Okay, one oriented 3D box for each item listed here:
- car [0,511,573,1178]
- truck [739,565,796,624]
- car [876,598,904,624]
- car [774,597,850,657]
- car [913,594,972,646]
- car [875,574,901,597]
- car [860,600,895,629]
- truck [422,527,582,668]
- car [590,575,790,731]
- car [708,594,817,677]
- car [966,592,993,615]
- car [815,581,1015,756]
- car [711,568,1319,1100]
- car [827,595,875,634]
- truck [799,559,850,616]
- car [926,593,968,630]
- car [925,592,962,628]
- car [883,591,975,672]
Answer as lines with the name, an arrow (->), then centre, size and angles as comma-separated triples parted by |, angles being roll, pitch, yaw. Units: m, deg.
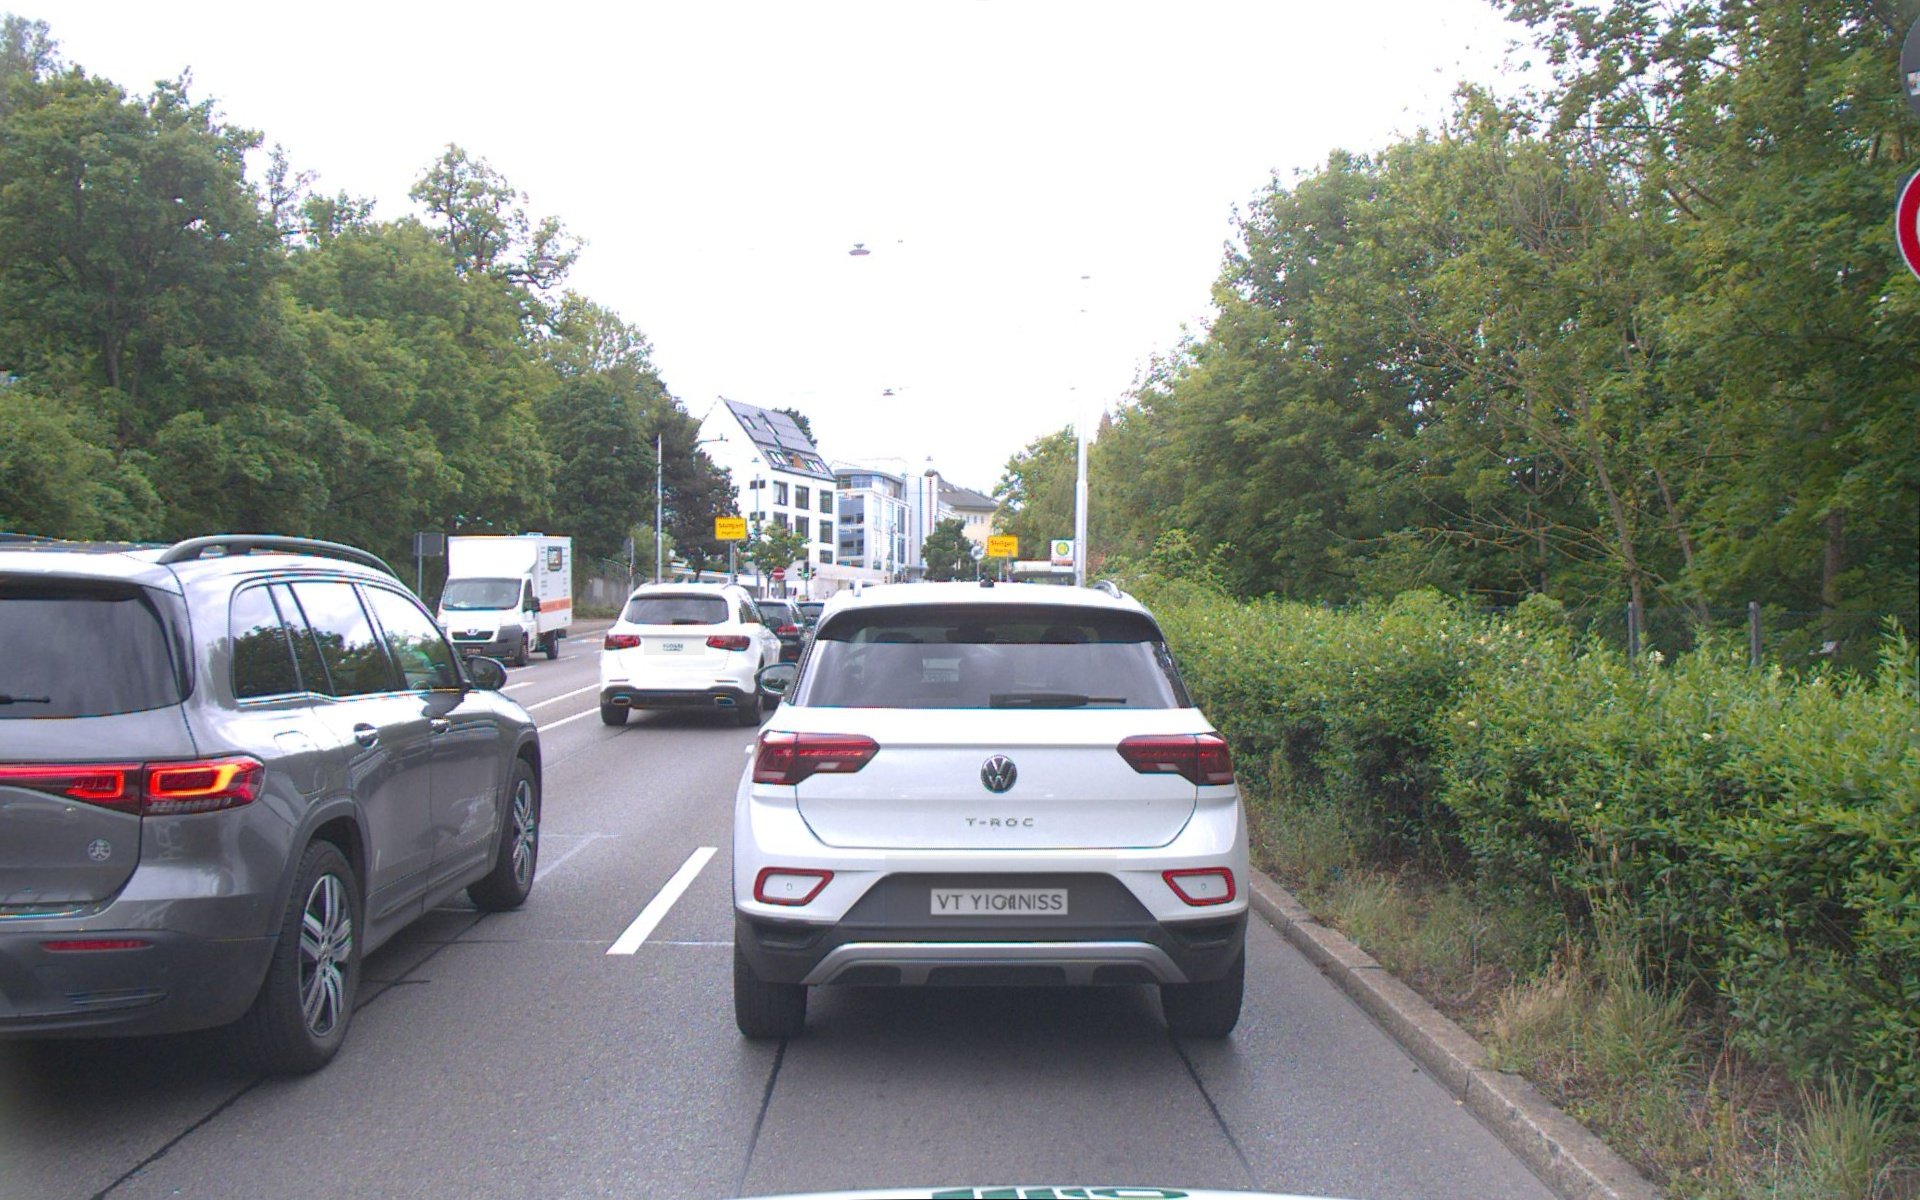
car -> -2.818, 0.611, 6.331 | 1.812, 1.680, 4.355 | 0, 0, -2
truck -> -9.360, -0.263, 80.611 | 2.315, 2.754, 4.476 | -1, 0, -2
car -> -4.628, 0.715, 109.367 | 1.778, 1.685, 3.927 | -1, 0, -2
car -> -3.999, 0.699, 45.207 | 1.792, 1.552, 3.999 | -1, 0, -2
car -> -0.588, 0.616, 52.349 | 1.792, 1.552, 3.999 | -1, 0, -2
car -> -5.065, -0.989, 116.610 | 1.792, 1.552, 3.999 | -1, 0, -2
car -> -4.450, 0.771, 89.884 | 1.792, 1.552, 3.999 | -1, 0, -2
truck -> -11.038, -0.046, 40.462 | 2.247, 3.104, 6.975 | -1, 0, -3
car -> -3.182, 0.583, 20.247 | 1.879, 1.698, 3.999 | 1, 0, -2
car -> -3.868, 0.660, 32.967 | 1.792, 1.523, 3.999 | -1, 0, -2
car -> 1.429, 0.246, 120.550 | 1.792, 1.552, 3.999 | -1, 0, -2
car -> -0.465, 0.618, 16.987 | 1.792, 1.552, 3.999 | -1, 0, -2
car -> 0.112, 0.680, 6.876 | 1.792, 1.552, 3.999 | 0, 0, -2
car -> -4.479, 0.573, 68.283 | 1.792, 1.552, 3.999 | -1, 0, -2
truck -> -6.945, -0.641, 85.242 | 2.315, 2.830, 4.476 | -1, 0, -2
car -> -0.617, 0.502, 74.016 | 1.792, 1.552, 3.999 | -1, 0, -2
car -> -0.949, 0.560, 94.224 | 1.954, 2.004, 3.998 | -1, 0, -3
car -> -0.667, 0.614, 34.519 | 1.792, 1.552, 3.999 | -1, 0, -2
